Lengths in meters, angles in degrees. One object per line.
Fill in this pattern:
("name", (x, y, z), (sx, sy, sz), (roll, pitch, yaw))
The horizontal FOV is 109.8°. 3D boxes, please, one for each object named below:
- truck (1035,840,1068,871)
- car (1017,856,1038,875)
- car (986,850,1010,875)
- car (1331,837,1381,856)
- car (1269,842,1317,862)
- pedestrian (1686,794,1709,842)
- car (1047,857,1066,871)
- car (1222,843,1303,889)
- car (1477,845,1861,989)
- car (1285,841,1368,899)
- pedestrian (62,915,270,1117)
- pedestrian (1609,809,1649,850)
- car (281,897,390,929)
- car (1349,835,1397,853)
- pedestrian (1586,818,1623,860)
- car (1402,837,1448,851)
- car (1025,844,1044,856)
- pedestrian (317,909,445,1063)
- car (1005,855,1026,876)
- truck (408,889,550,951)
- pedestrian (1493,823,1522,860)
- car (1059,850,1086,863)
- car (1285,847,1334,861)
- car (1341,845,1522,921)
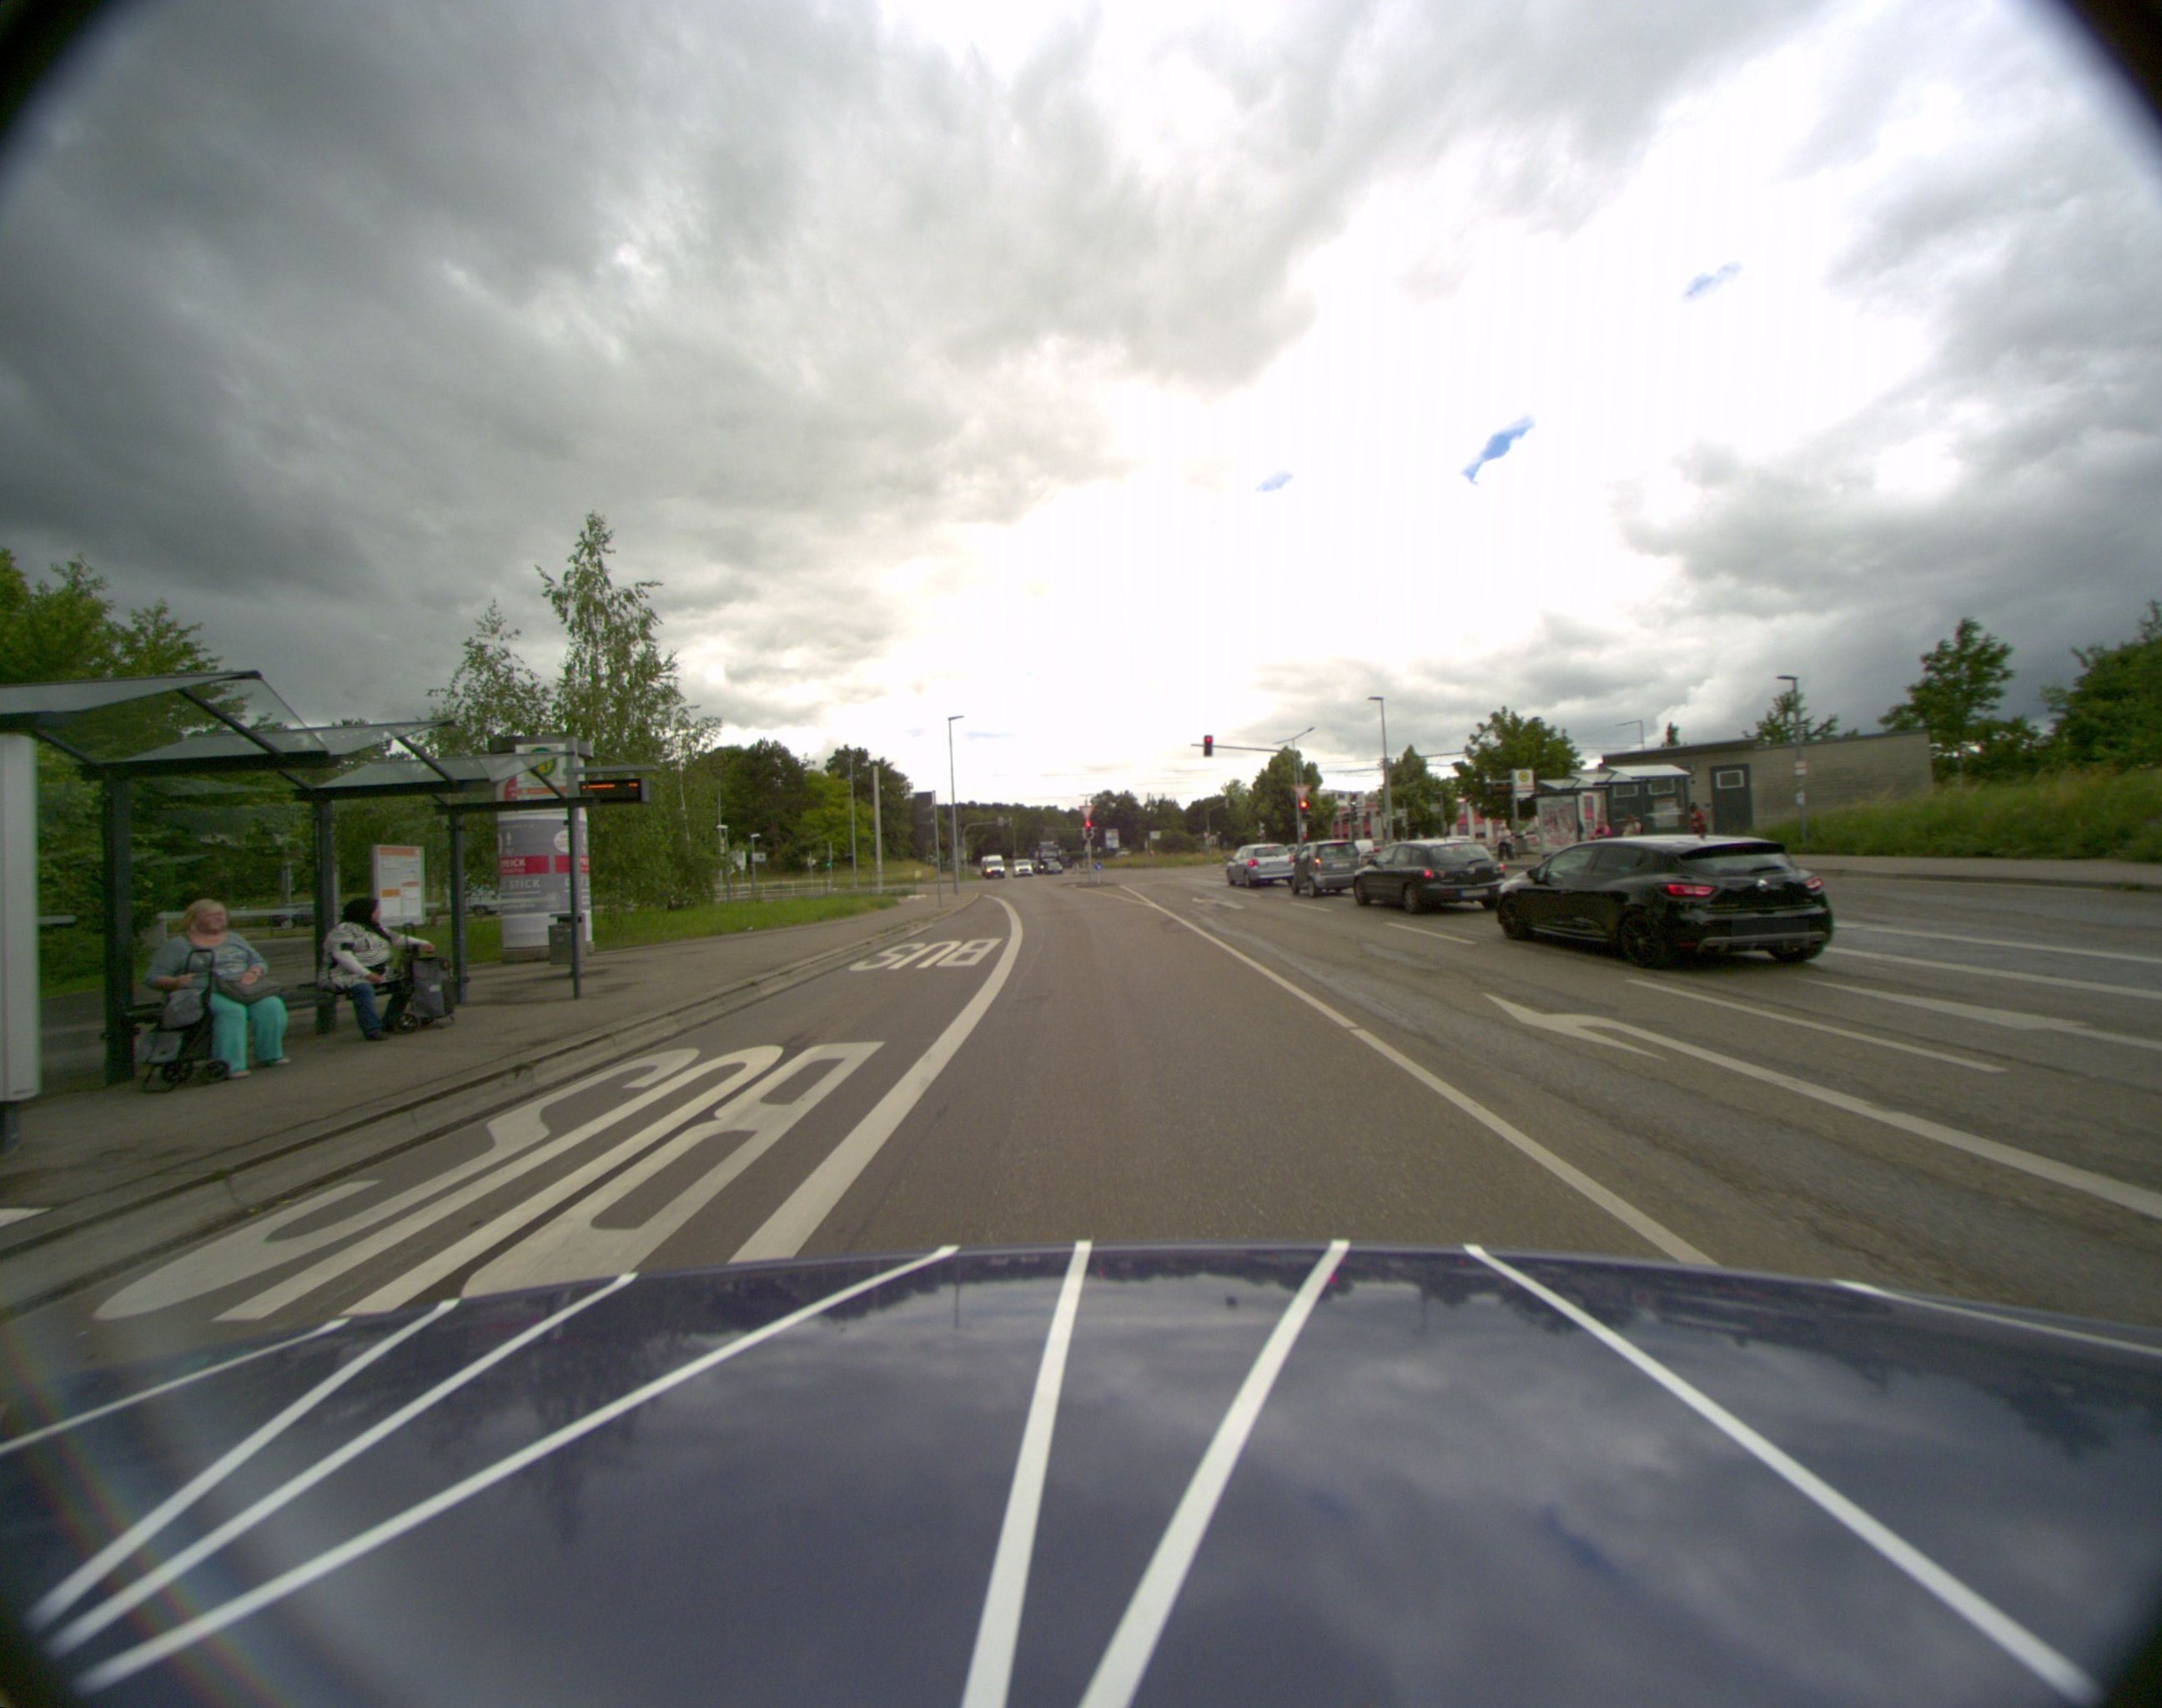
("truck", (-3.733, 0.198, 94.885), (3.074, 3.497, 5.956), (-4, 0, -9))
("car", (-6.208, 1.339, 87.656), (2.120, 1.979, 4.986), (-5, 0, -4))
("car", (-9.607, 1.005, 87.171), (2.228, 2.643, 5.956), (-4, 0, -9))
("car", (28.761, -0.763, 79.486), (4.698, 1.781, 1.813), (-2, 0, -12))
("car", (21.335, -0.224, 76.658), (4.221, 1.769, 1.814), (-3, 0, -7))
("pedestrian", (21.942, -1.278, 27.047), (0.549, 1.660, 0.430), (-3, 0, 38))
("car", (-2.855, 1.171, 87.015), (1.636, 1.433, 3.864), (-3, 0, -8))
("car", (6.667, 0.419, 28.353), (1.832, 1.527, 4.219), (-3, 0, -2))
("car", (6.758, 0.613, 9.398), (1.643, 1.324, 4.061), (-3, 0, 2))
("car", (6.986, 0.433, 21.872), (1.432, 1.518, 2.775), (-3, 0, 0))
("pedestrian", (-6.581, 1.135, 5.496), (0.730, 1.308, 0.589), (-3, 0, 4))
("pedestrian", (17.045, -0.747, 23.640), (0.774, 1.219, 0.550), (-3, 0, -7))
("car", (-43.064, 3.388, 44.023), (4.005, 1.390, 1.996), (-3, 0, -26))
("car", (31.824, -1.028, 82.899), (4.455, 1.894, 2.183), (0, -1, -13))
("pedestrian", (17.134, -0.484, 24.893), (0.774, 1.322, 0.550), (-3, 0, -7))
("car", (36.403, -1.058, 80.407), (4.223, 1.332, 1.813), (0, -1, -11))
("car", (-8.596, -0.688, 139.372), (2.308, 2.002, 4.812), (-4, 0, -18))
("pedestrian", (-6.439, 1.169, 7.037), (0.777, 1.245, 0.771), (-3, 0, -40))
("car", (-8.270, 1.472, 95.900), (2.228, 2.372, 5.957), (-4, 0, -8))
("truck", (-36.515, 3.955, 46.351), (6.279, 2.994, 2.107), (-3, 3, -23))
("pedestrian", (16.133, -0.459, 28.740), (0.550, 1.355, 0.774), (-3, 0, -6))
("car", (-1.280, 0.400, 118.176), (1.995, 1.865, 4.899), (-3, 0, 26))
("car", (22.402, -0.017, 74.507), (4.223, 1.332, 1.813), (0, -1, -10))
("car", (7.158, 0.533, 16.081), (1.804, 1.324, 4.380), (-3, 0, 0))
